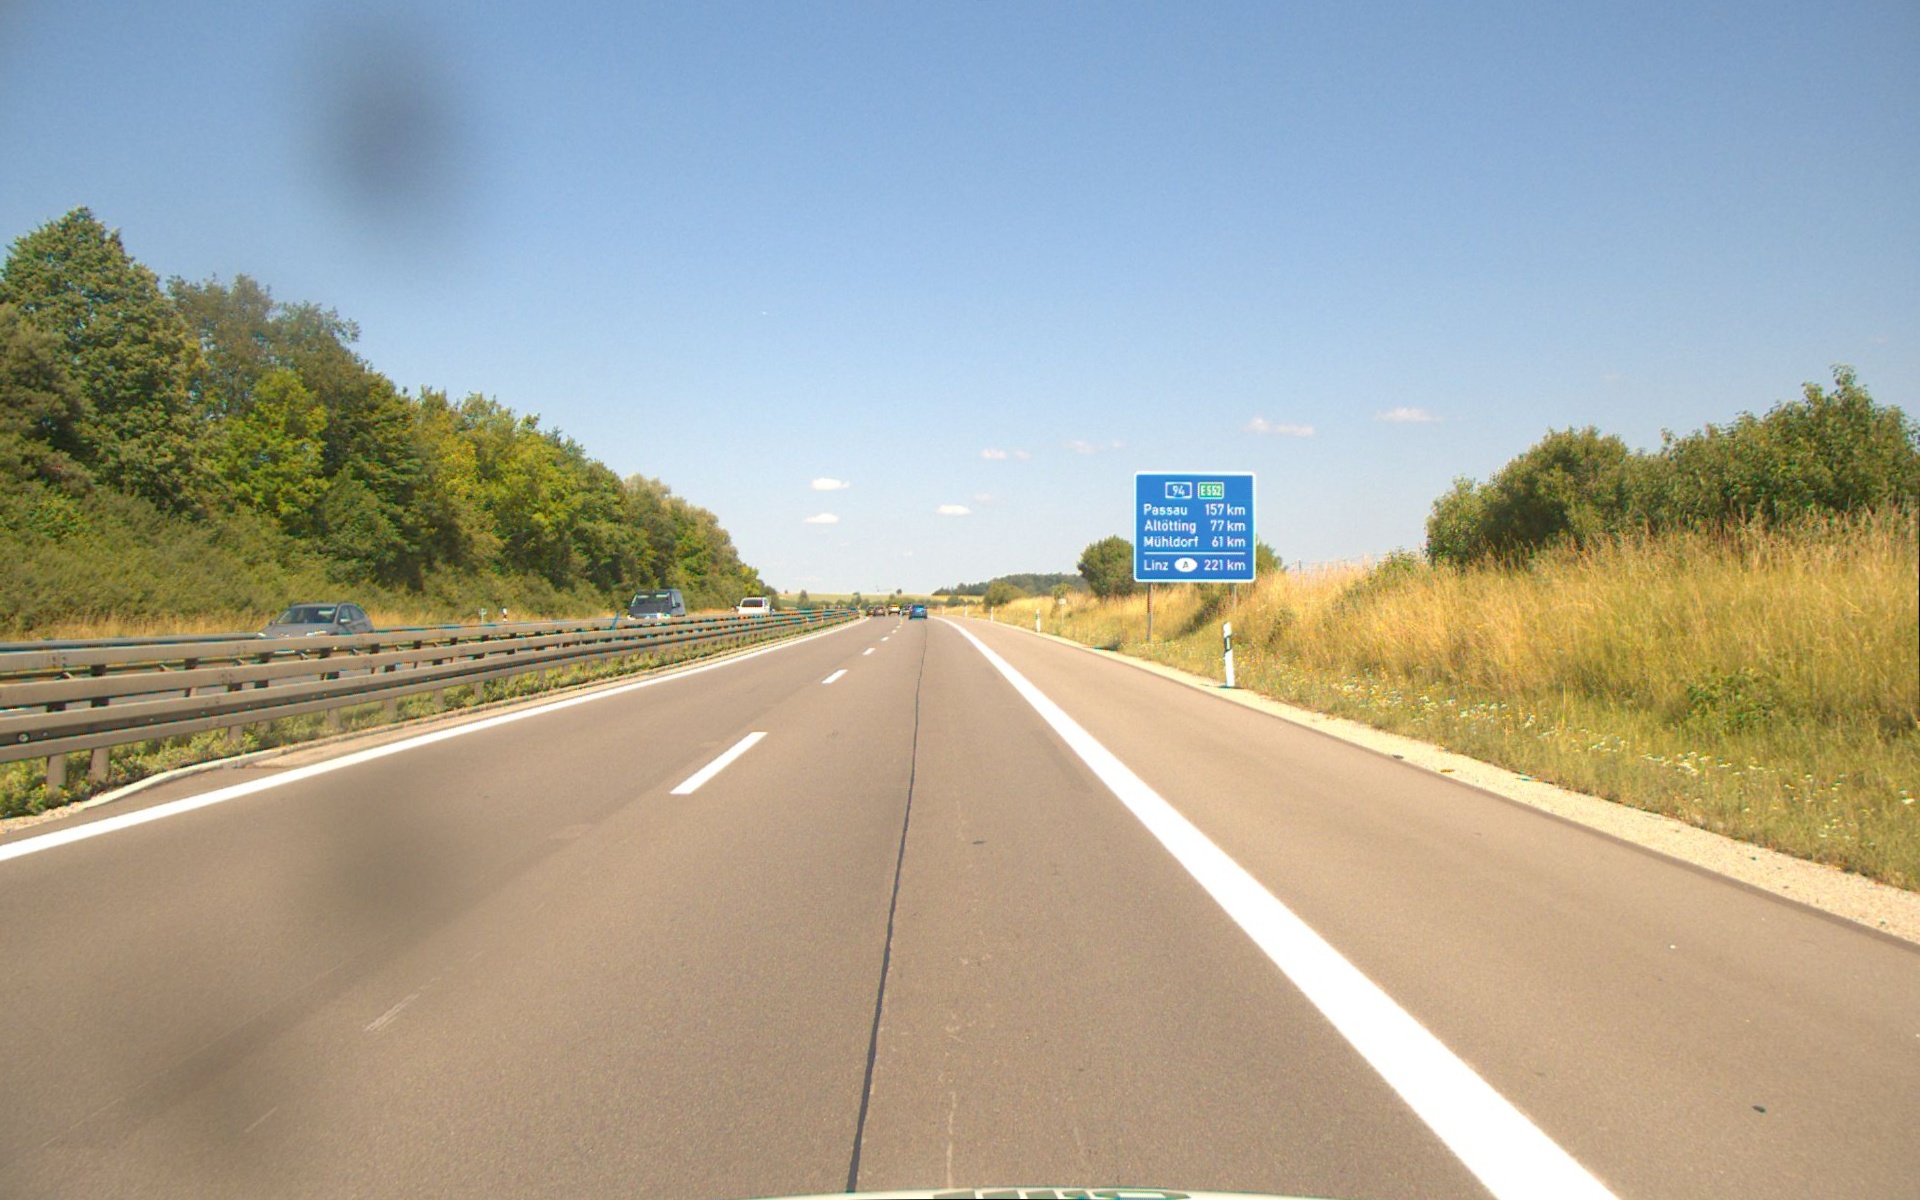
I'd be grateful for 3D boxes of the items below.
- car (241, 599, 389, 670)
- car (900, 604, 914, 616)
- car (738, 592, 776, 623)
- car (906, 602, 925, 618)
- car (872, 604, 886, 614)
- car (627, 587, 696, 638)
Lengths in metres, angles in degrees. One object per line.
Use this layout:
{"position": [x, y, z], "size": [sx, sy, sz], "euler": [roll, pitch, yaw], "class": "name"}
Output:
{"position": [-15.832, 0.801, 40.874], "size": [1.953, 1.640, 4.486], "euler": [0, 0, -1], "class": "car"}
{"position": [-6.989, 1.315, 219.019], "size": [1.792, 1.479, 3.591], "euler": [-2, -1, 0], "class": "car"}
{"position": [-13.863, 0.475, 113.132], "size": [1.953, 2.025, 5.690], "euler": [-1, 0, -1], "class": "car"}
{"position": [-4.291, 0.947, 159.095], "size": [1.641, 1.479, 3.592], "euler": [-2, -1, 0], "class": "car"}
{"position": [-11.549, 1.303, 237.143], "size": [1.792, 1.479, 3.591], "euler": [-2, -1, 0], "class": "car"}
{"position": [-12.192, 0.488, 67.805], "size": [1.953, 2.007, 5.038], "euler": [0, 0, -1], "class": "car"}
